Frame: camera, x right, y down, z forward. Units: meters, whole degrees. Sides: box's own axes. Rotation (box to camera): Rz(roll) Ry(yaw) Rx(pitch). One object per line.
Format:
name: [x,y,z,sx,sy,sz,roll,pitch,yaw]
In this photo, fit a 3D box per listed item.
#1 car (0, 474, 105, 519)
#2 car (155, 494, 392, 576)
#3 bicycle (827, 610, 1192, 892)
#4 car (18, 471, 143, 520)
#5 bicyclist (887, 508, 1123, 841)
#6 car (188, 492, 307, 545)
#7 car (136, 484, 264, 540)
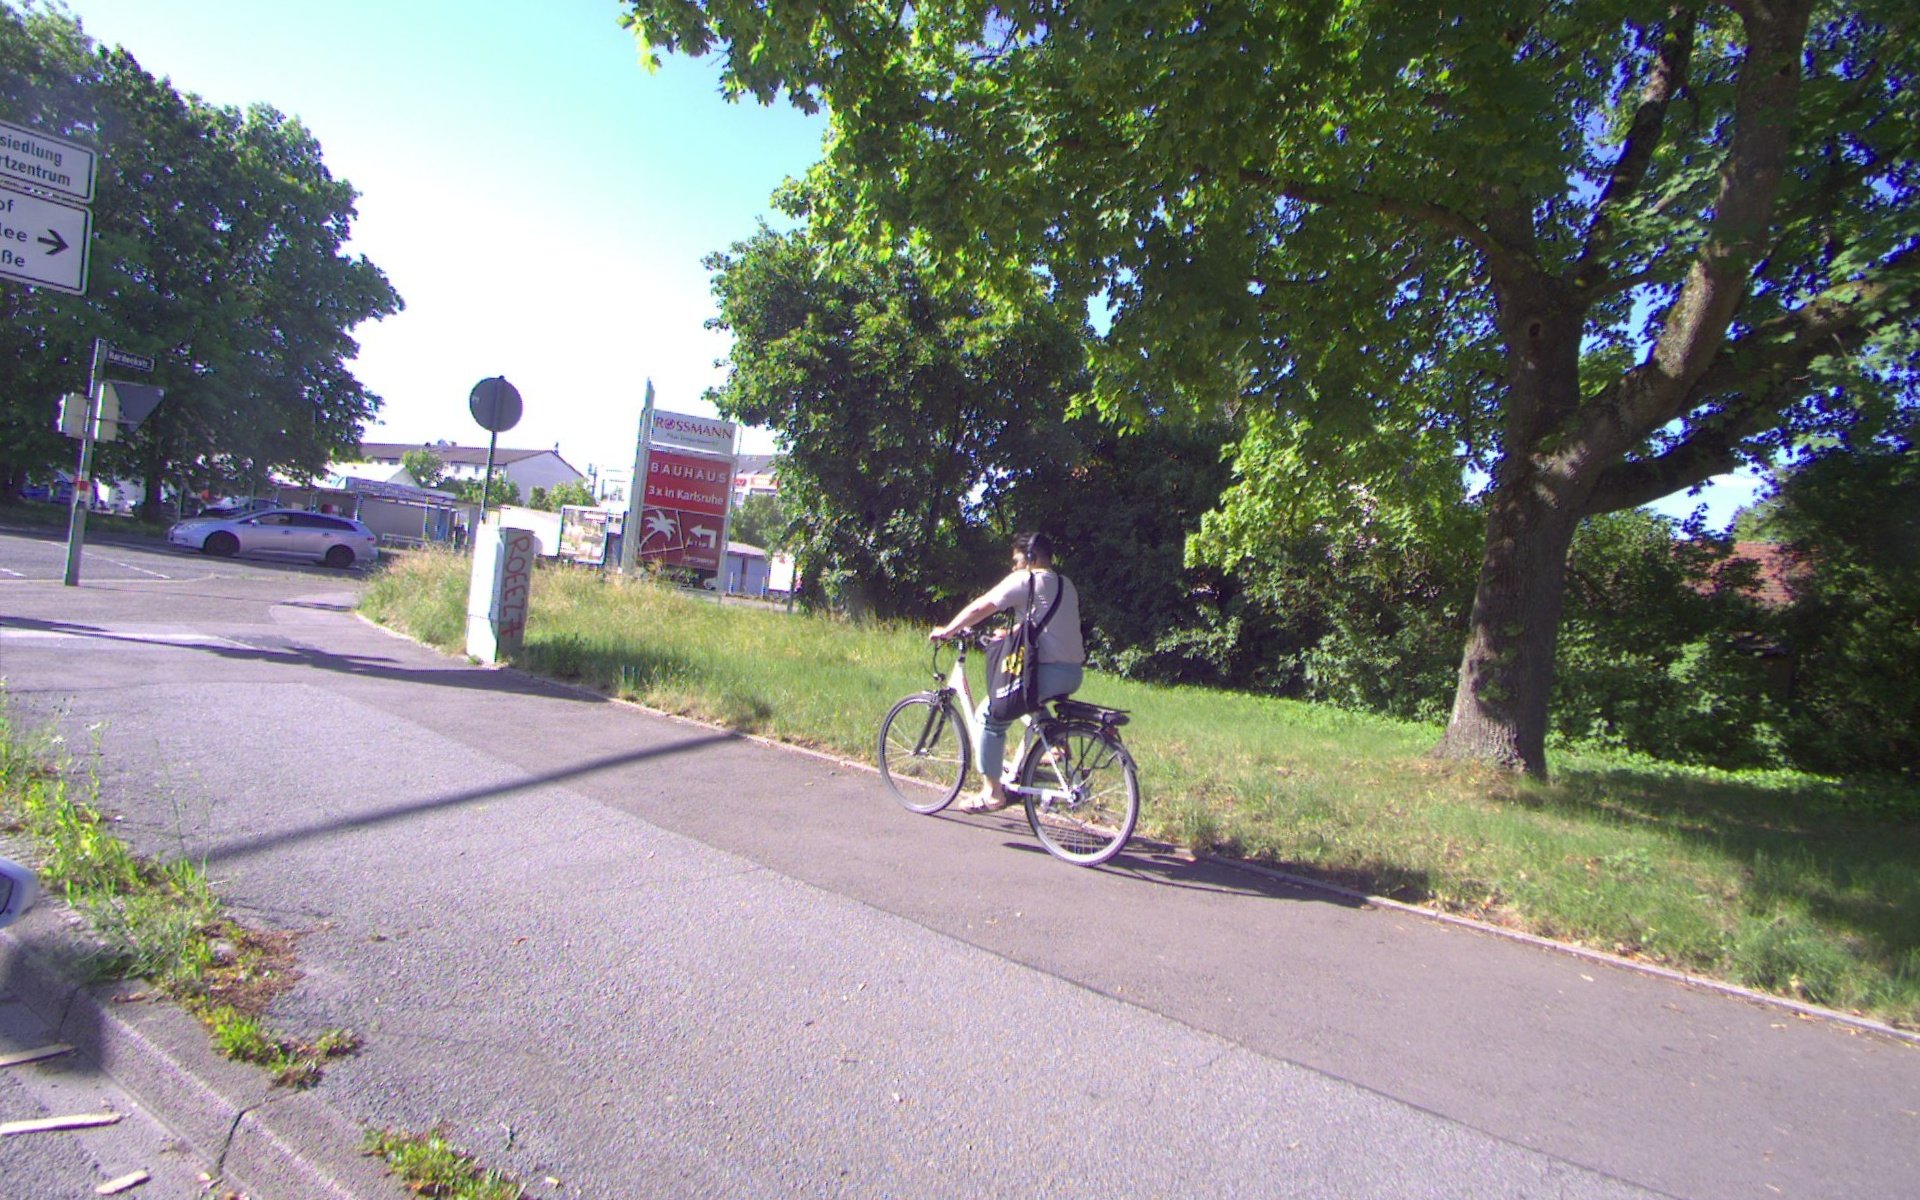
car: [-41.988,-4.763,46.161,1.712,1.537,3.902,7,0,9]
car: [-18.645,-1.732,27.531,1.973,1.504,4.994,7,0,43]
bicycle: [0.185,0.710,5.435,1.960,1.112,0.577,7,2,42]
car: [-39.178,-4.622,44.937,1.712,1.537,3.902,7,0,9]
bicyclist: [0.225,0.352,5.420,0.983,1.602,0.577,7,3,42]
car: [-30.294,-3.423,42.922,1.712,1.701,4.001,7,0,9]
car: [-32.346,-3.711,42.978,1.962,1.772,4.001,7,0,9]
